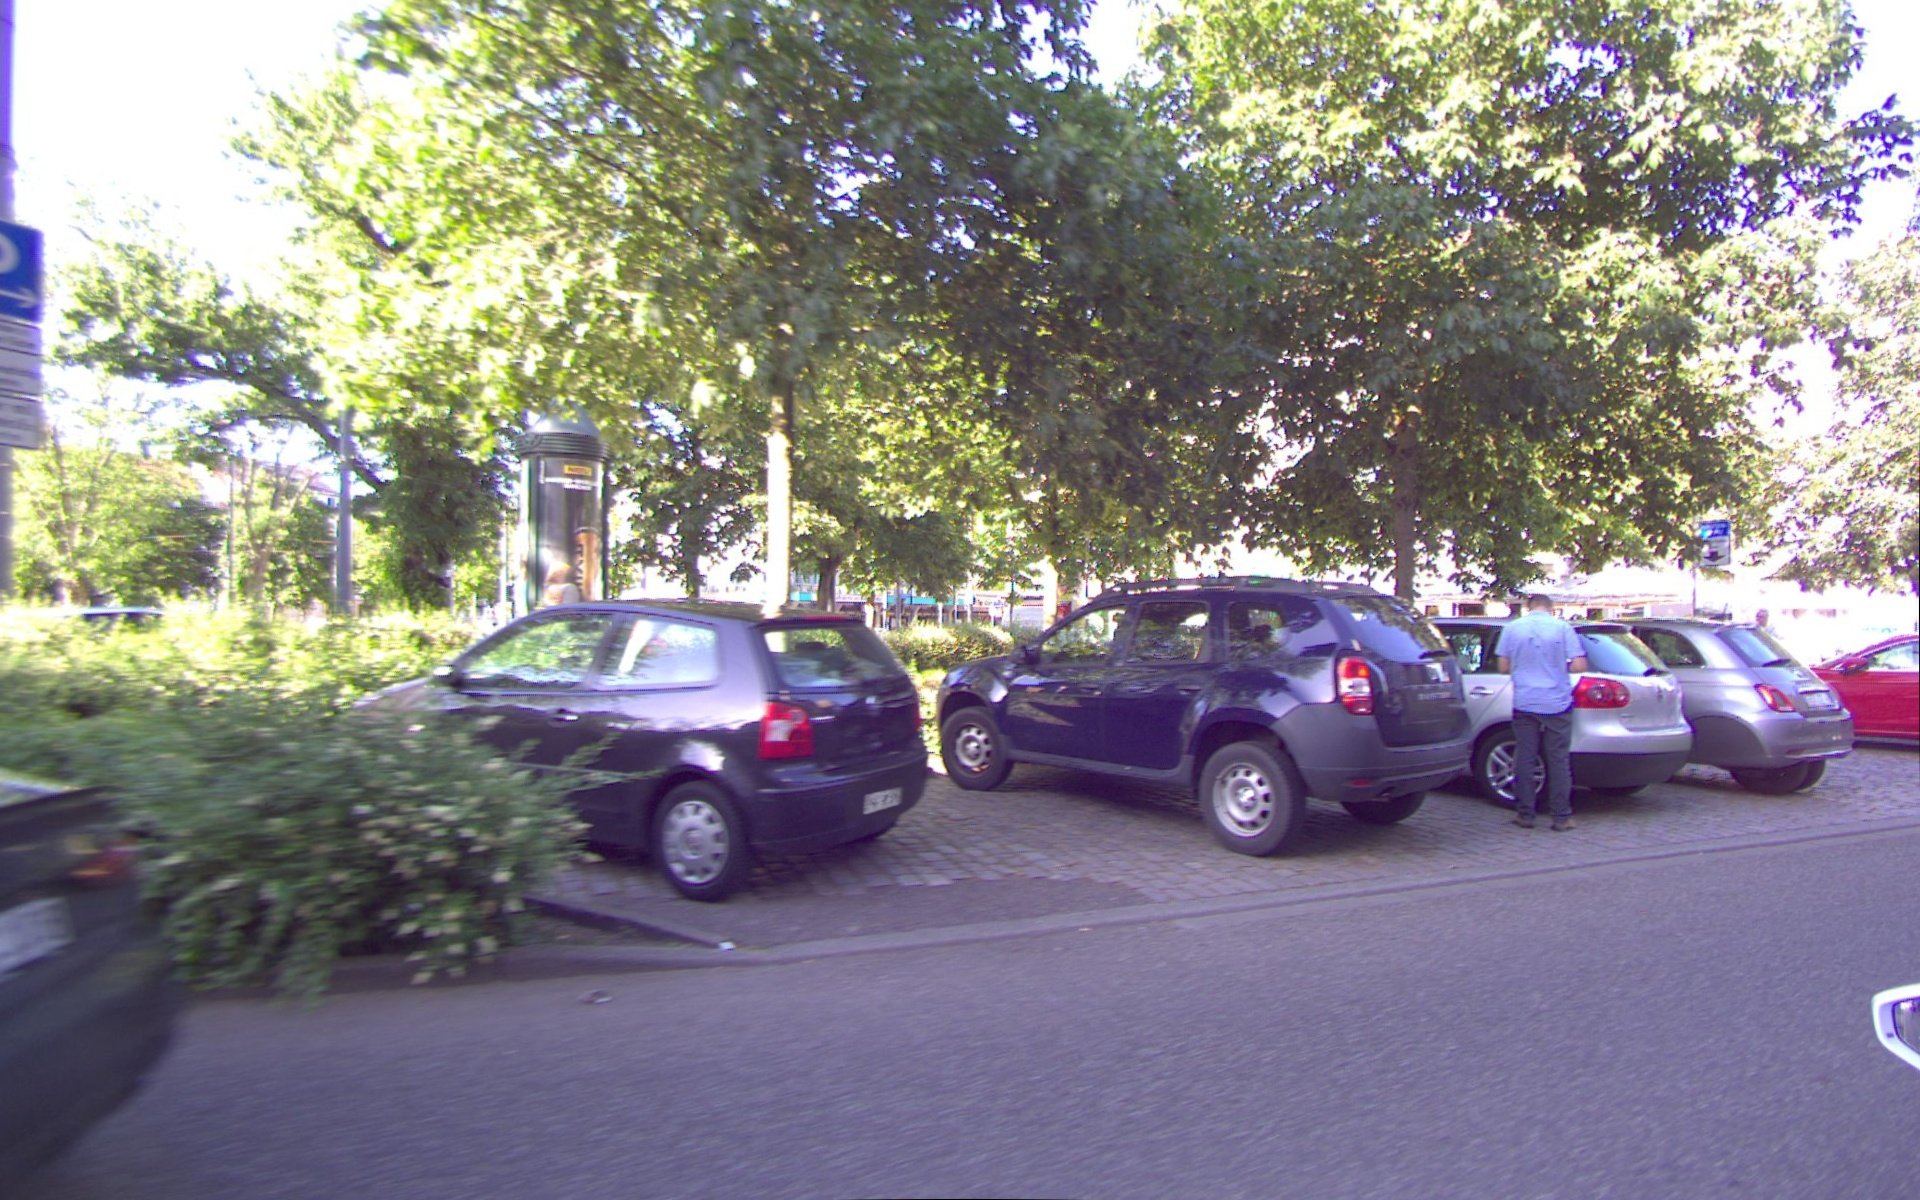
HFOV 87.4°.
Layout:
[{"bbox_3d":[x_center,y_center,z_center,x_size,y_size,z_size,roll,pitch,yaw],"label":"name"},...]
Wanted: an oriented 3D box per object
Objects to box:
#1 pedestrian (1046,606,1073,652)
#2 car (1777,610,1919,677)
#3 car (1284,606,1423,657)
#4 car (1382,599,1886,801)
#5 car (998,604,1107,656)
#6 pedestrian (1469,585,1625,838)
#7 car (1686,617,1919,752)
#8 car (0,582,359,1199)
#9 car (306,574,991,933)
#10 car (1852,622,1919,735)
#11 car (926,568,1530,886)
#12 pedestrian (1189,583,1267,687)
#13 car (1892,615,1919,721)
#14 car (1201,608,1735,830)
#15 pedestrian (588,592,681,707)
[{"bbox_3d":[3.300,0.958,33.298,0.549,1.484,0.670,2,0,38],"label":"pedestrian"},{"bbox_3d":[27.300,1.287,29.379,5.202,1.823,2.153,1,-1,41],"label":"car"},{"bbox_3d":[17.591,1.376,45.080,5.510,2.040,1.809,1,-1,41],"label":"car"},{"bbox_3d":[6.600,0.842,10.350,1.727,1.619,3.973,2,-1,-26],"label":"car"},{"bbox_3d":[4.575,1.461,50.311,5.279,2.344,1.988,1,-1,44],"label":"car"},{"bbox_3d":[4.139,0.744,7.104,0.638,1.671,0.696,2,0,-30],"label":"pedestrian"},{"bbox_3d":[11.942,1.052,12.268,4.783,1.508,1.755,1,-1,44],"label":"car"},{"bbox_3d":[-3.918,0.613,1.526,4.725,1.435,1.914,2,0,-11],"label":"car"},{"bbox_3d":[-1.989,0.653,6.130,3.931,1.489,1.870,2,-1,32],"label":"car"},{"bbox_3d":[14.690,1.126,13.234,4.165,1.496,1.730,2,0,35],"label":"car"},{"bbox_3d":[1.728,0.661,7.507,1.983,1.690,3.955,1,0,-39],"label":"car"},{"bbox_3d":[3.402,0.439,12.761,0.695,1.276,0.639,2,0,-38],"label":"pedestrian"},{"bbox_3d":[16.677,1.112,14.875,3.934,1.607,1.825,2,0,35],"label":"car"},{"bbox_3d":[4.294,0.868,9.115,1.784,1.467,3.964,2,-1,-33],"label":"car"},{"bbox_3d":[-4.594,0.686,14.212,0.757,1.542,0.955,2,0,36],"label":"pedestrian"}]
